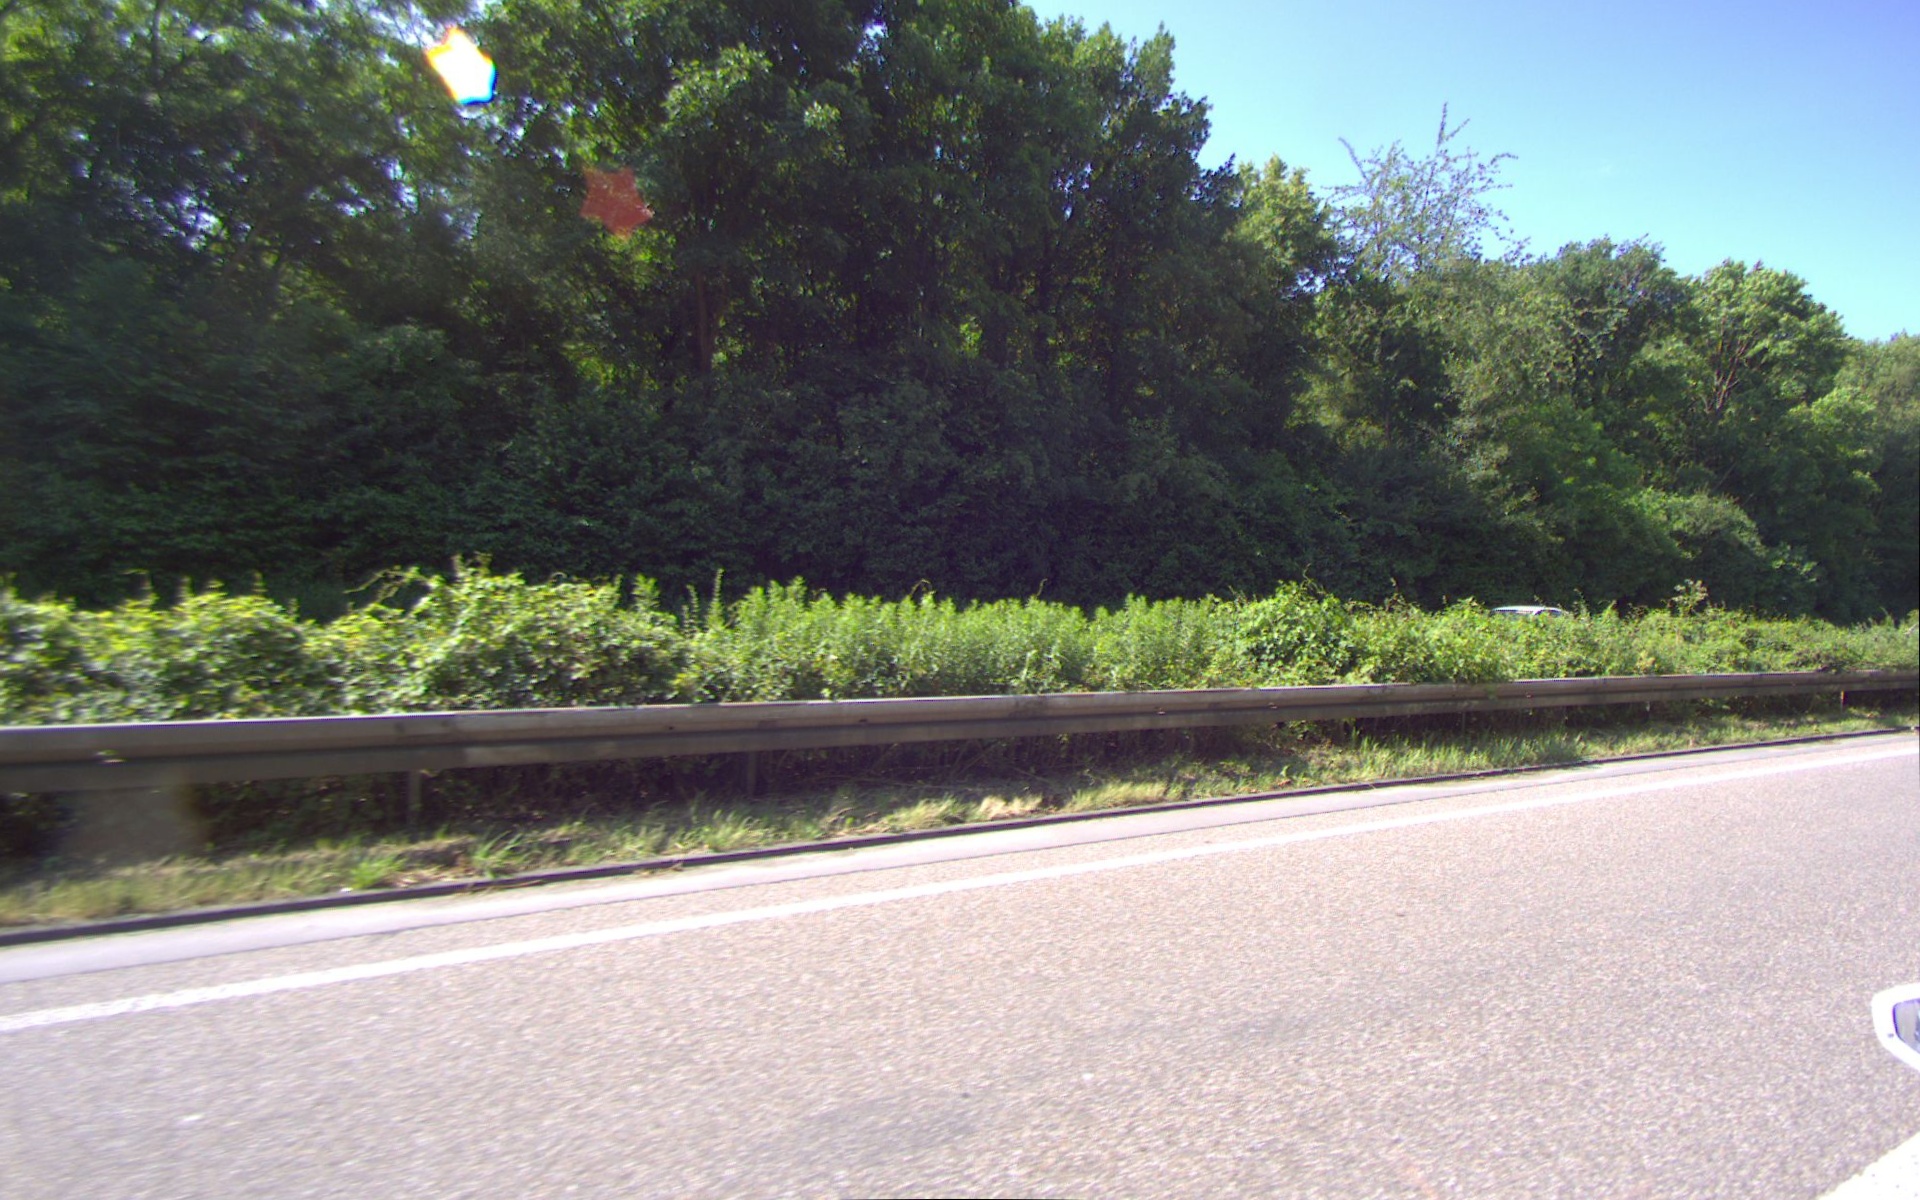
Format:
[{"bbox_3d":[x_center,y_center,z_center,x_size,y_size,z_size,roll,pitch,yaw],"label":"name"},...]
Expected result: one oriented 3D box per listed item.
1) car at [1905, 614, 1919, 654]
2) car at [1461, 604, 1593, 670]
[{"bbox_3d":[41.863,1.478,42.536,3.955,1.684,1.684,2,0,-31],"label":"car"},{"bbox_3d":[14.781,0.955,26.182,3.346,1.587,1.540,2,0,-31],"label":"car"}]
